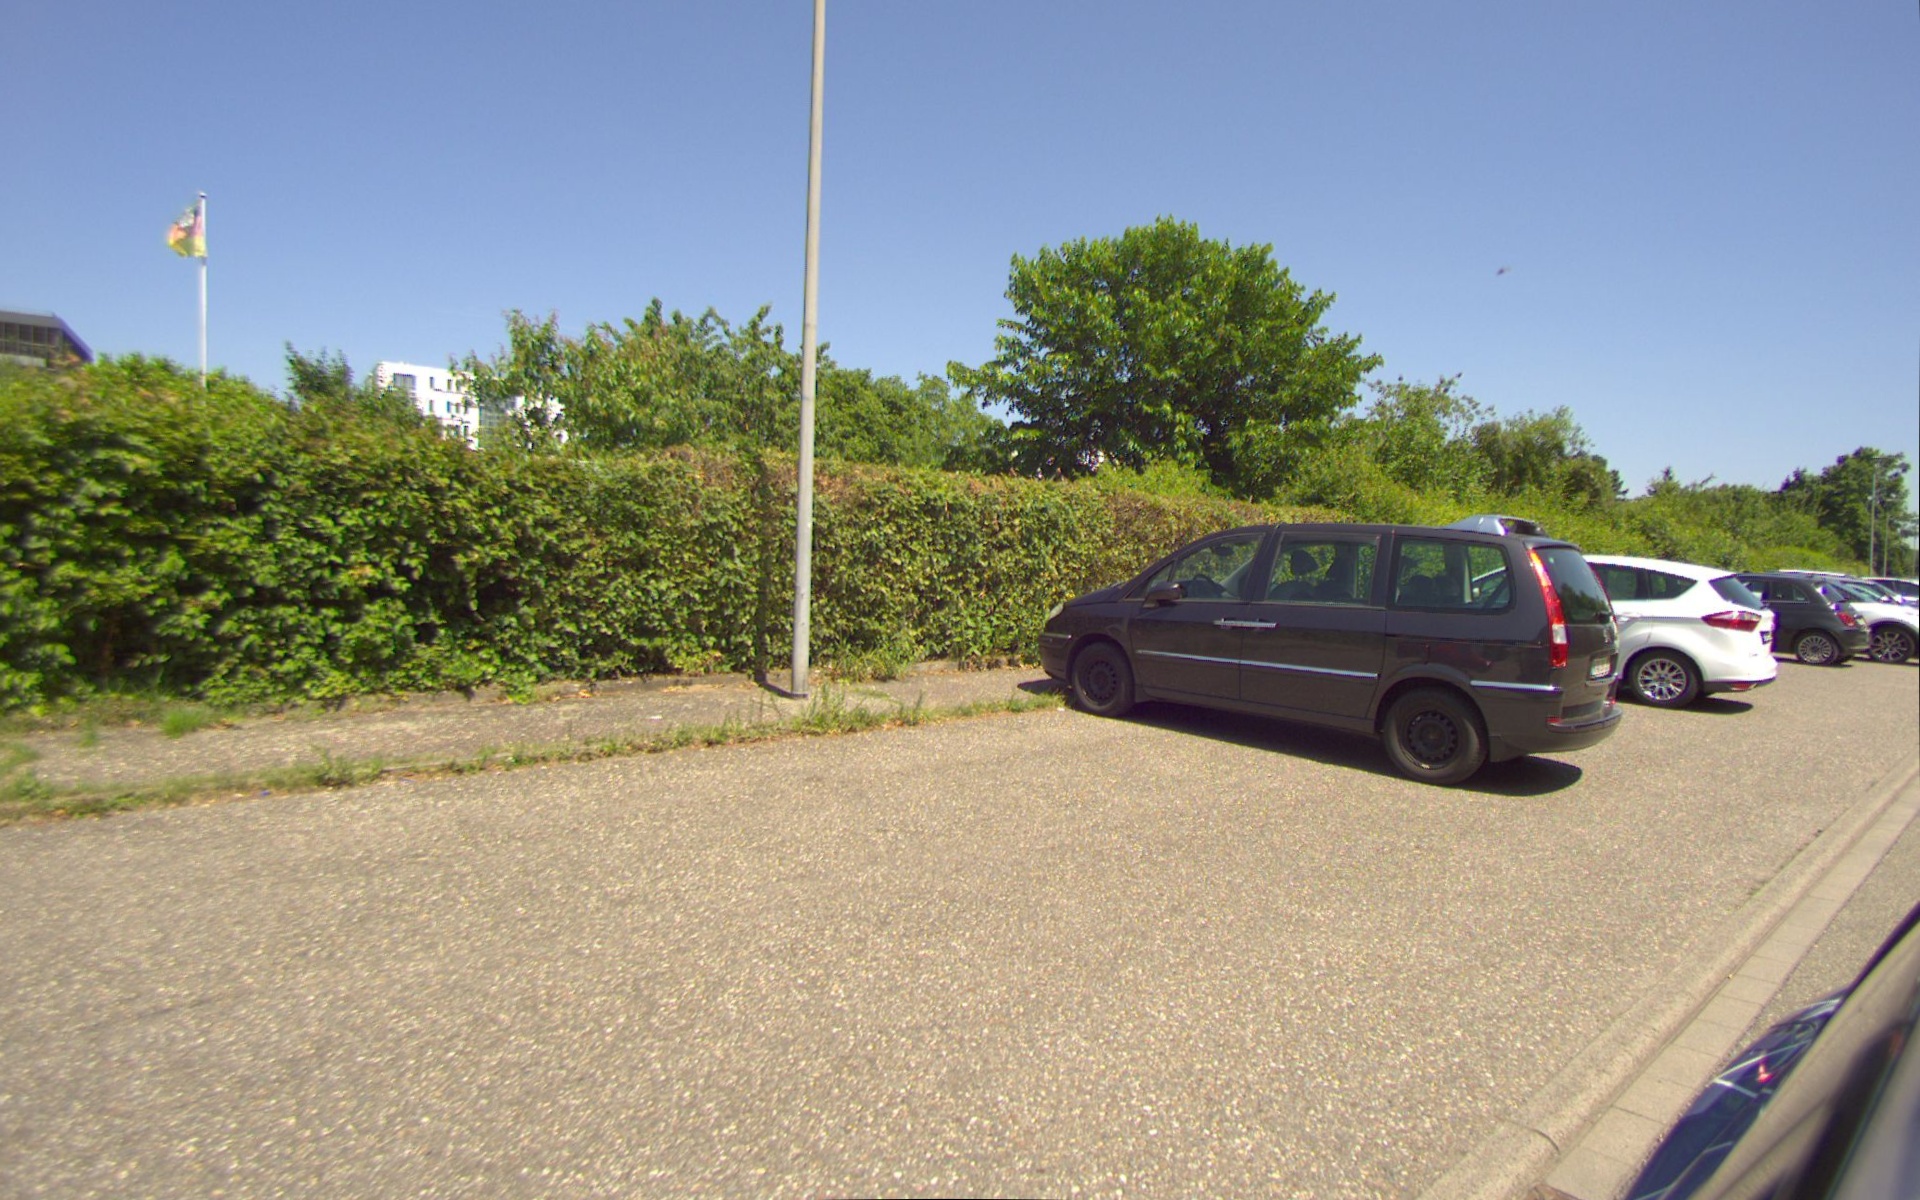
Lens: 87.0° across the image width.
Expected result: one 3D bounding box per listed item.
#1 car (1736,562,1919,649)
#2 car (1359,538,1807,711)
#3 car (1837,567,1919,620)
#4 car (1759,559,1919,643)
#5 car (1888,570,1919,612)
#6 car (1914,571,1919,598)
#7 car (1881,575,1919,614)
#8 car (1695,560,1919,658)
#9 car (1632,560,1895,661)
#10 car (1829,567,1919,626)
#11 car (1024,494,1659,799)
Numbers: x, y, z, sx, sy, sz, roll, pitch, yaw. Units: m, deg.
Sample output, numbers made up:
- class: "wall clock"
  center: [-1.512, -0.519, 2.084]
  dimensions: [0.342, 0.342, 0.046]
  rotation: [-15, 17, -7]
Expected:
- class: "car"
  center: [19.084, 0.084, 21.845]
  dimensions: [3.456, 1.545, 1.515]
  rotation: [8, 6, 44]
- class: "car"
  center: [7.387, 0.142, 12.359]
  dimensions: [1.736, 1.597, 4.284]
  rotation: [0, 5, -42]
- class: "car"
  center: [32.654, -0.194, 34.434]
  dimensions: [1.736, 1.706, 3.981]
  rotation: [-1, 4, -42]
- class: "car"
  center: [21.379, 0.028, 23.671]
  dimensions: [1.637, 1.659, 3.965]
  rotation: [-1, 6, -45]
- class: "car"
  center: [40.075, -0.252, 40.554]
  dimensions: [1.645, 1.661, 4.035]
  rotation: [-1, 5, -42]
- class: "car"
  center: [69.383, -0.950, 70.280]
  dimensions: [4.484, 1.873, 1.669]
  rotation: [7, 5, 44]
- class: "car"
  center: [37.978, -0.099, 38.607]
  dimensions: [1.651, 1.426, 4.033]
  rotation: [-1, 6, -43]
- class: "car"
  center: [17.091, 0.142, 19.914]
  dimensions: [3.966, 1.540, 1.835]
  rotation: [8, 6, 44]
- class: "car"
  center: [14.462, 0.123, 18.360]
  dimensions: [1.559, 1.522, 3.399]
  rotation: [0, 4, -38]
- class: "car"
  center: [30.928, -0.087, 32.377]
  dimensions: [1.819, 1.750, 4.464]
  rotation: [-2, 5, -40]
- class: "car"
  center: [2.851, 0.100, 8.361]
  dimensions: [1.921, 1.826, 4.458]
  rotation: [-2, 6, -45]
